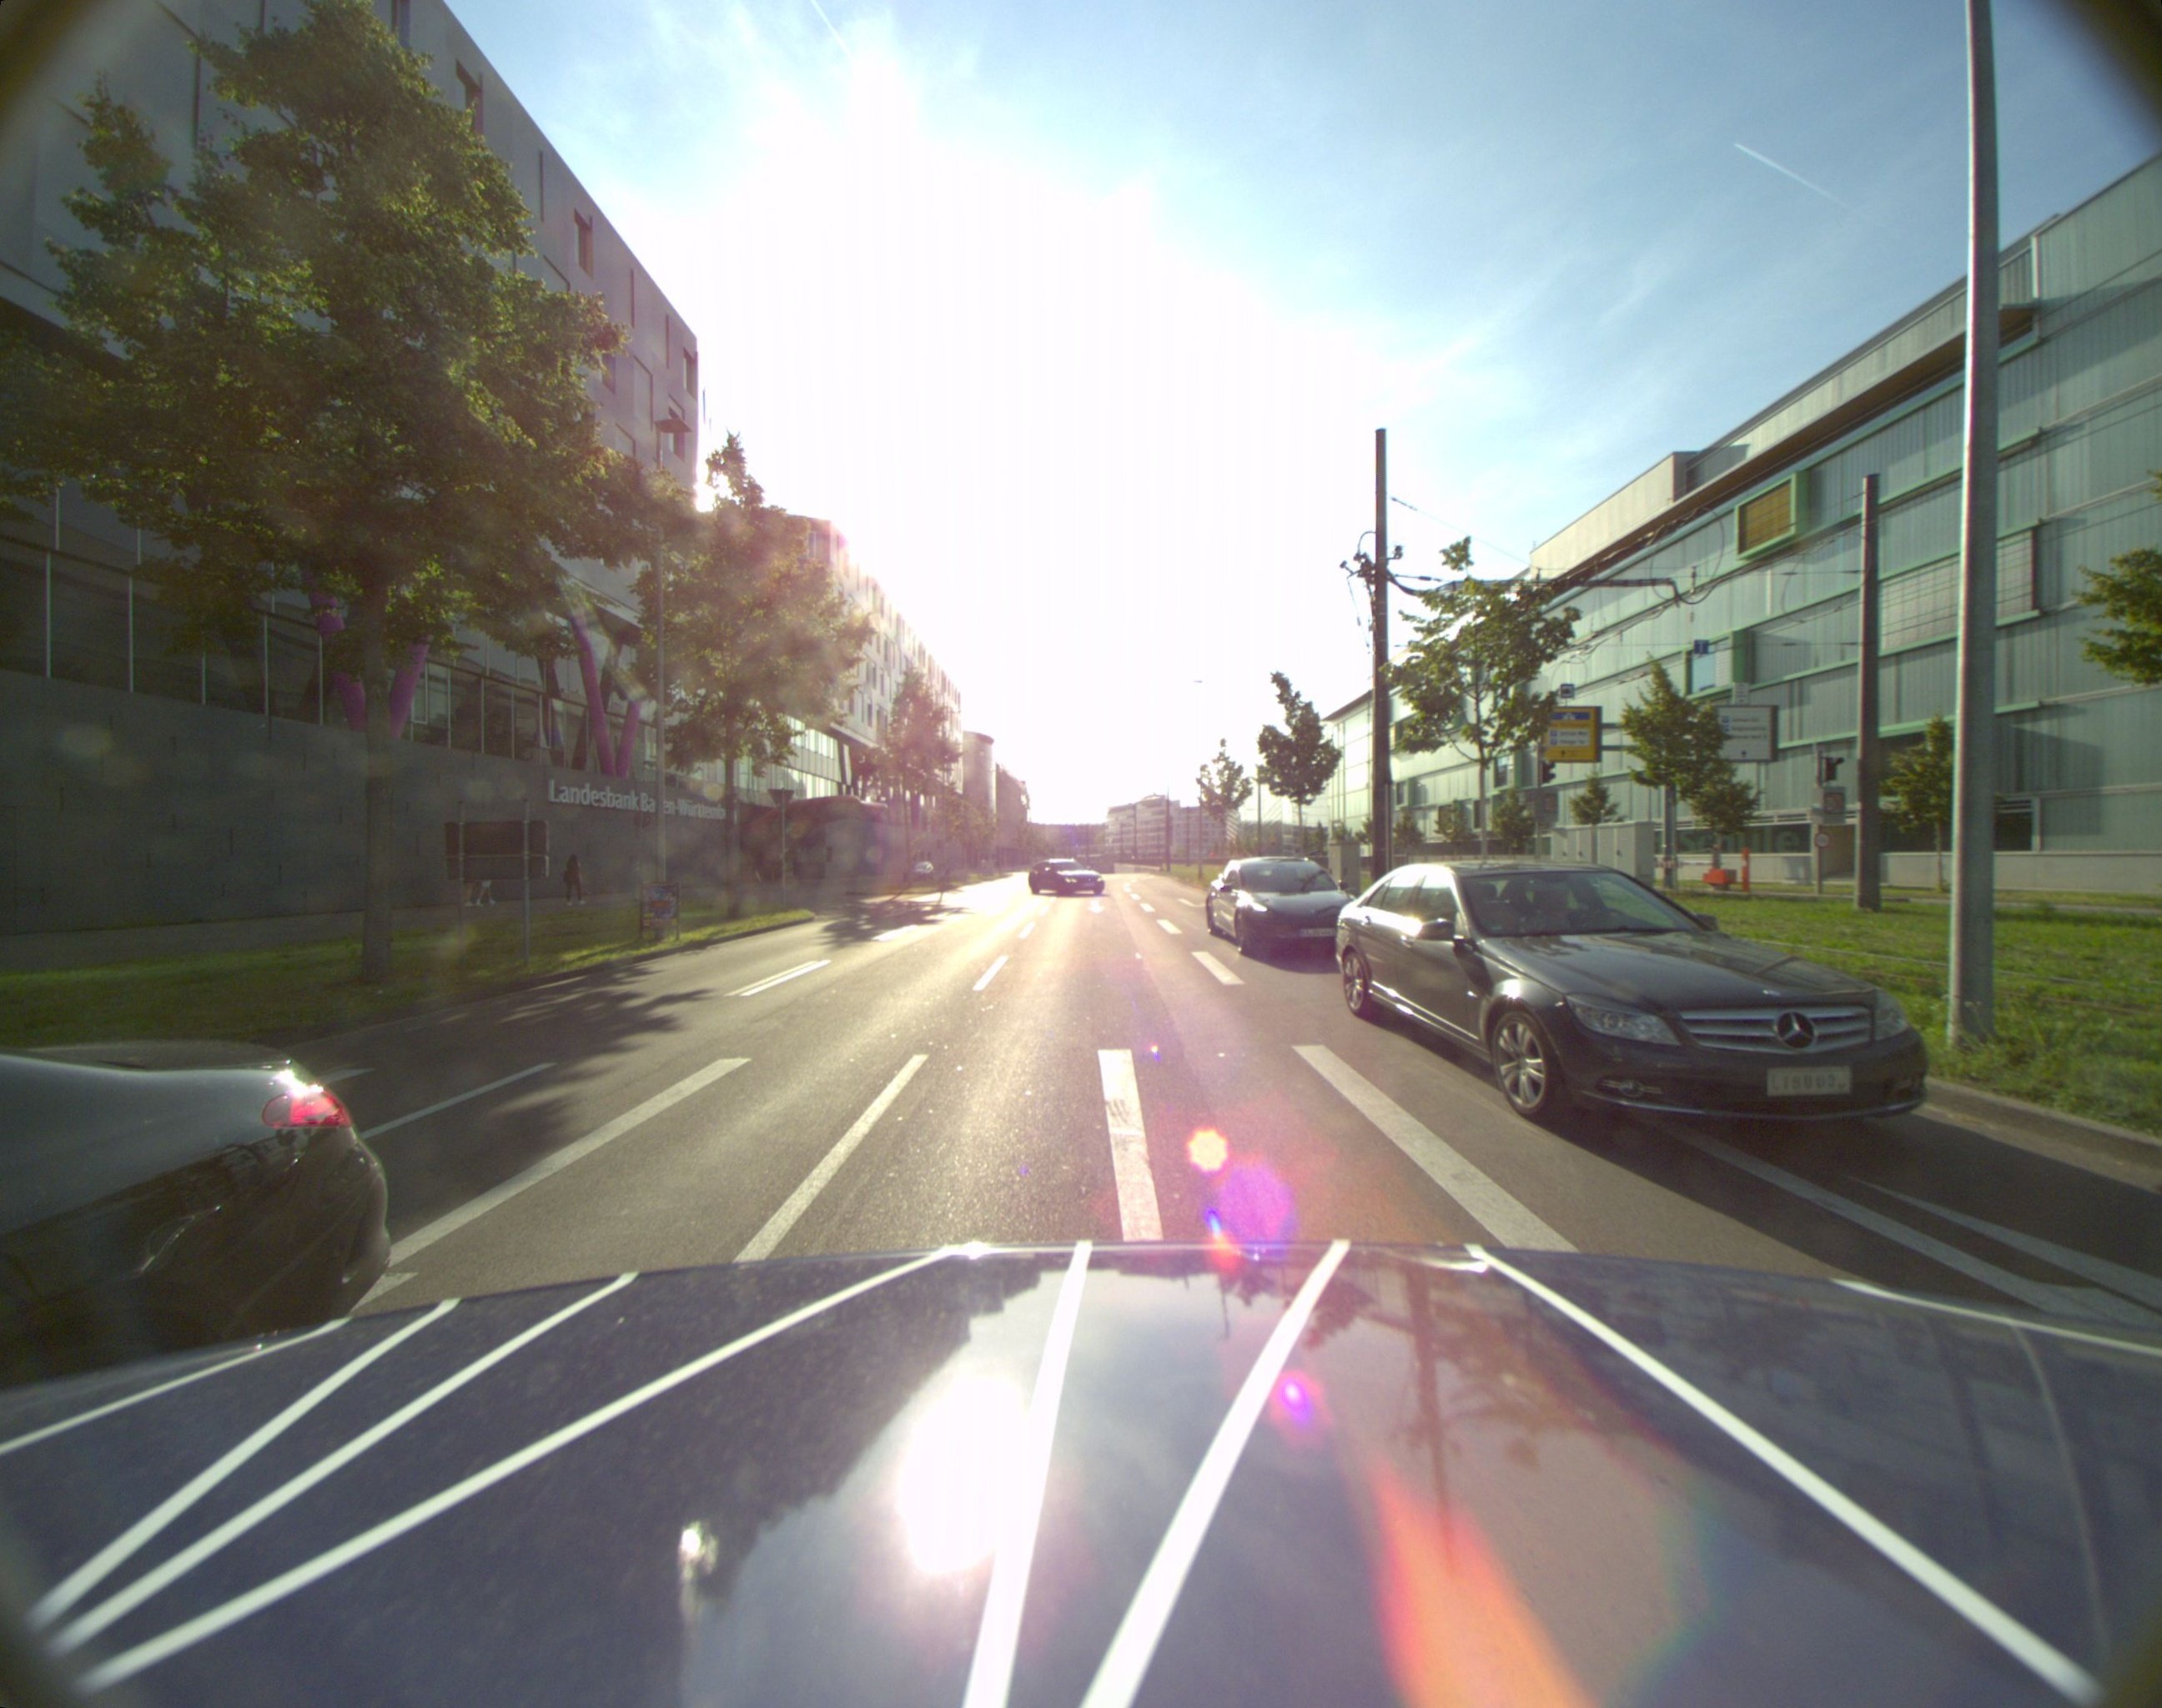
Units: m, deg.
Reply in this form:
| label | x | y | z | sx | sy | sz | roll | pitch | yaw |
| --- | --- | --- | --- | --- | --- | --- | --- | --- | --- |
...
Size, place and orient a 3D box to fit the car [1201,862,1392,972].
| label | x | y | z | sx | sy | sz | roll | pitch | yaw |
| --- | --- | --- | --- | --- | --- | --- | --- | --- | --- |
| car | 3.222 | 0.870 | 12.338 | 1.894 | 1.377 | 4.335 | -2 | 0 | 1 |

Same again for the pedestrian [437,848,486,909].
| label | x | y | z | sx | sy | sz | roll | pitch | yaw |
| --- | --- | --- | --- | --- | --- | --- | --- | --- | --- |
| pedestrian | -18.714 | 0.729 | 22.974 | 0.770 | 1.814 | 0.853 | 2 | 0 | 0 |

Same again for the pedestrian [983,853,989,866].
| label | x | y | z | sx | sy | sz | roll | pitch | yaw |
| --- | --- | --- | --- | --- | --- | --- | --- | --- | --- |
| pedestrian | -13.507 | 0.773 | 108.150 | 0.725 | 1.776 | 0.771 | 0 | 1 | 0 |

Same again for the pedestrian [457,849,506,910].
| label | x | y | z | sx | sy | sz | roll | pitch | yaw |
| --- | --- | --- | --- | --- | --- | --- | --- | --- | --- |
| pedestrian | -18.119 | 0.761 | 22.981 | 0.756 | 1.783 | 0.844 | 2 | 0 | 0 |

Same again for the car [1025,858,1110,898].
| label | x | y | z | sx | sy | sz | roll | pitch | yaw |
| --- | --- | --- | --- | --- | --- | --- | --- | --- | --- |
| car | -0.661 | 0.945 | 32.083 | 1.898 | 1.418 | 4.463 | -2 | 1 | -25 |

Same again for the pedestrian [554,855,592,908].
| label | x | y | z | sx | sy | sz | roll | pitch | yaw |
| --- | --- | --- | --- | --- | --- | --- | --- | --- | --- |
| pedestrian | -16.209 | 0.866 | 24.250 | 0.695 | 1.629 | 0.736 | 2 | 1 | 0 |

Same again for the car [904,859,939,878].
| label | x | y | z | sx | sy | sz | roll | pitch | yaw |
| --- | --- | --- | --- | --- | --- | --- | --- | --- | --- |
| car | -11.594 | 1.049 | 55.604 | 1.696 | 1.382 | 4.199 | 0 | -1 | -1 |

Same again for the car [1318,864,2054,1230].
| label | x | y | z | sx | sy | sz | roll | pitch | yaw |
| --- | --- | --- | --- | --- | --- | --- | --- | --- | --- |
| car | 3.253 | 0.856 | 5.415 | 1.791 | 1.470 | 4.354 | -2 | 0 | 1 |
